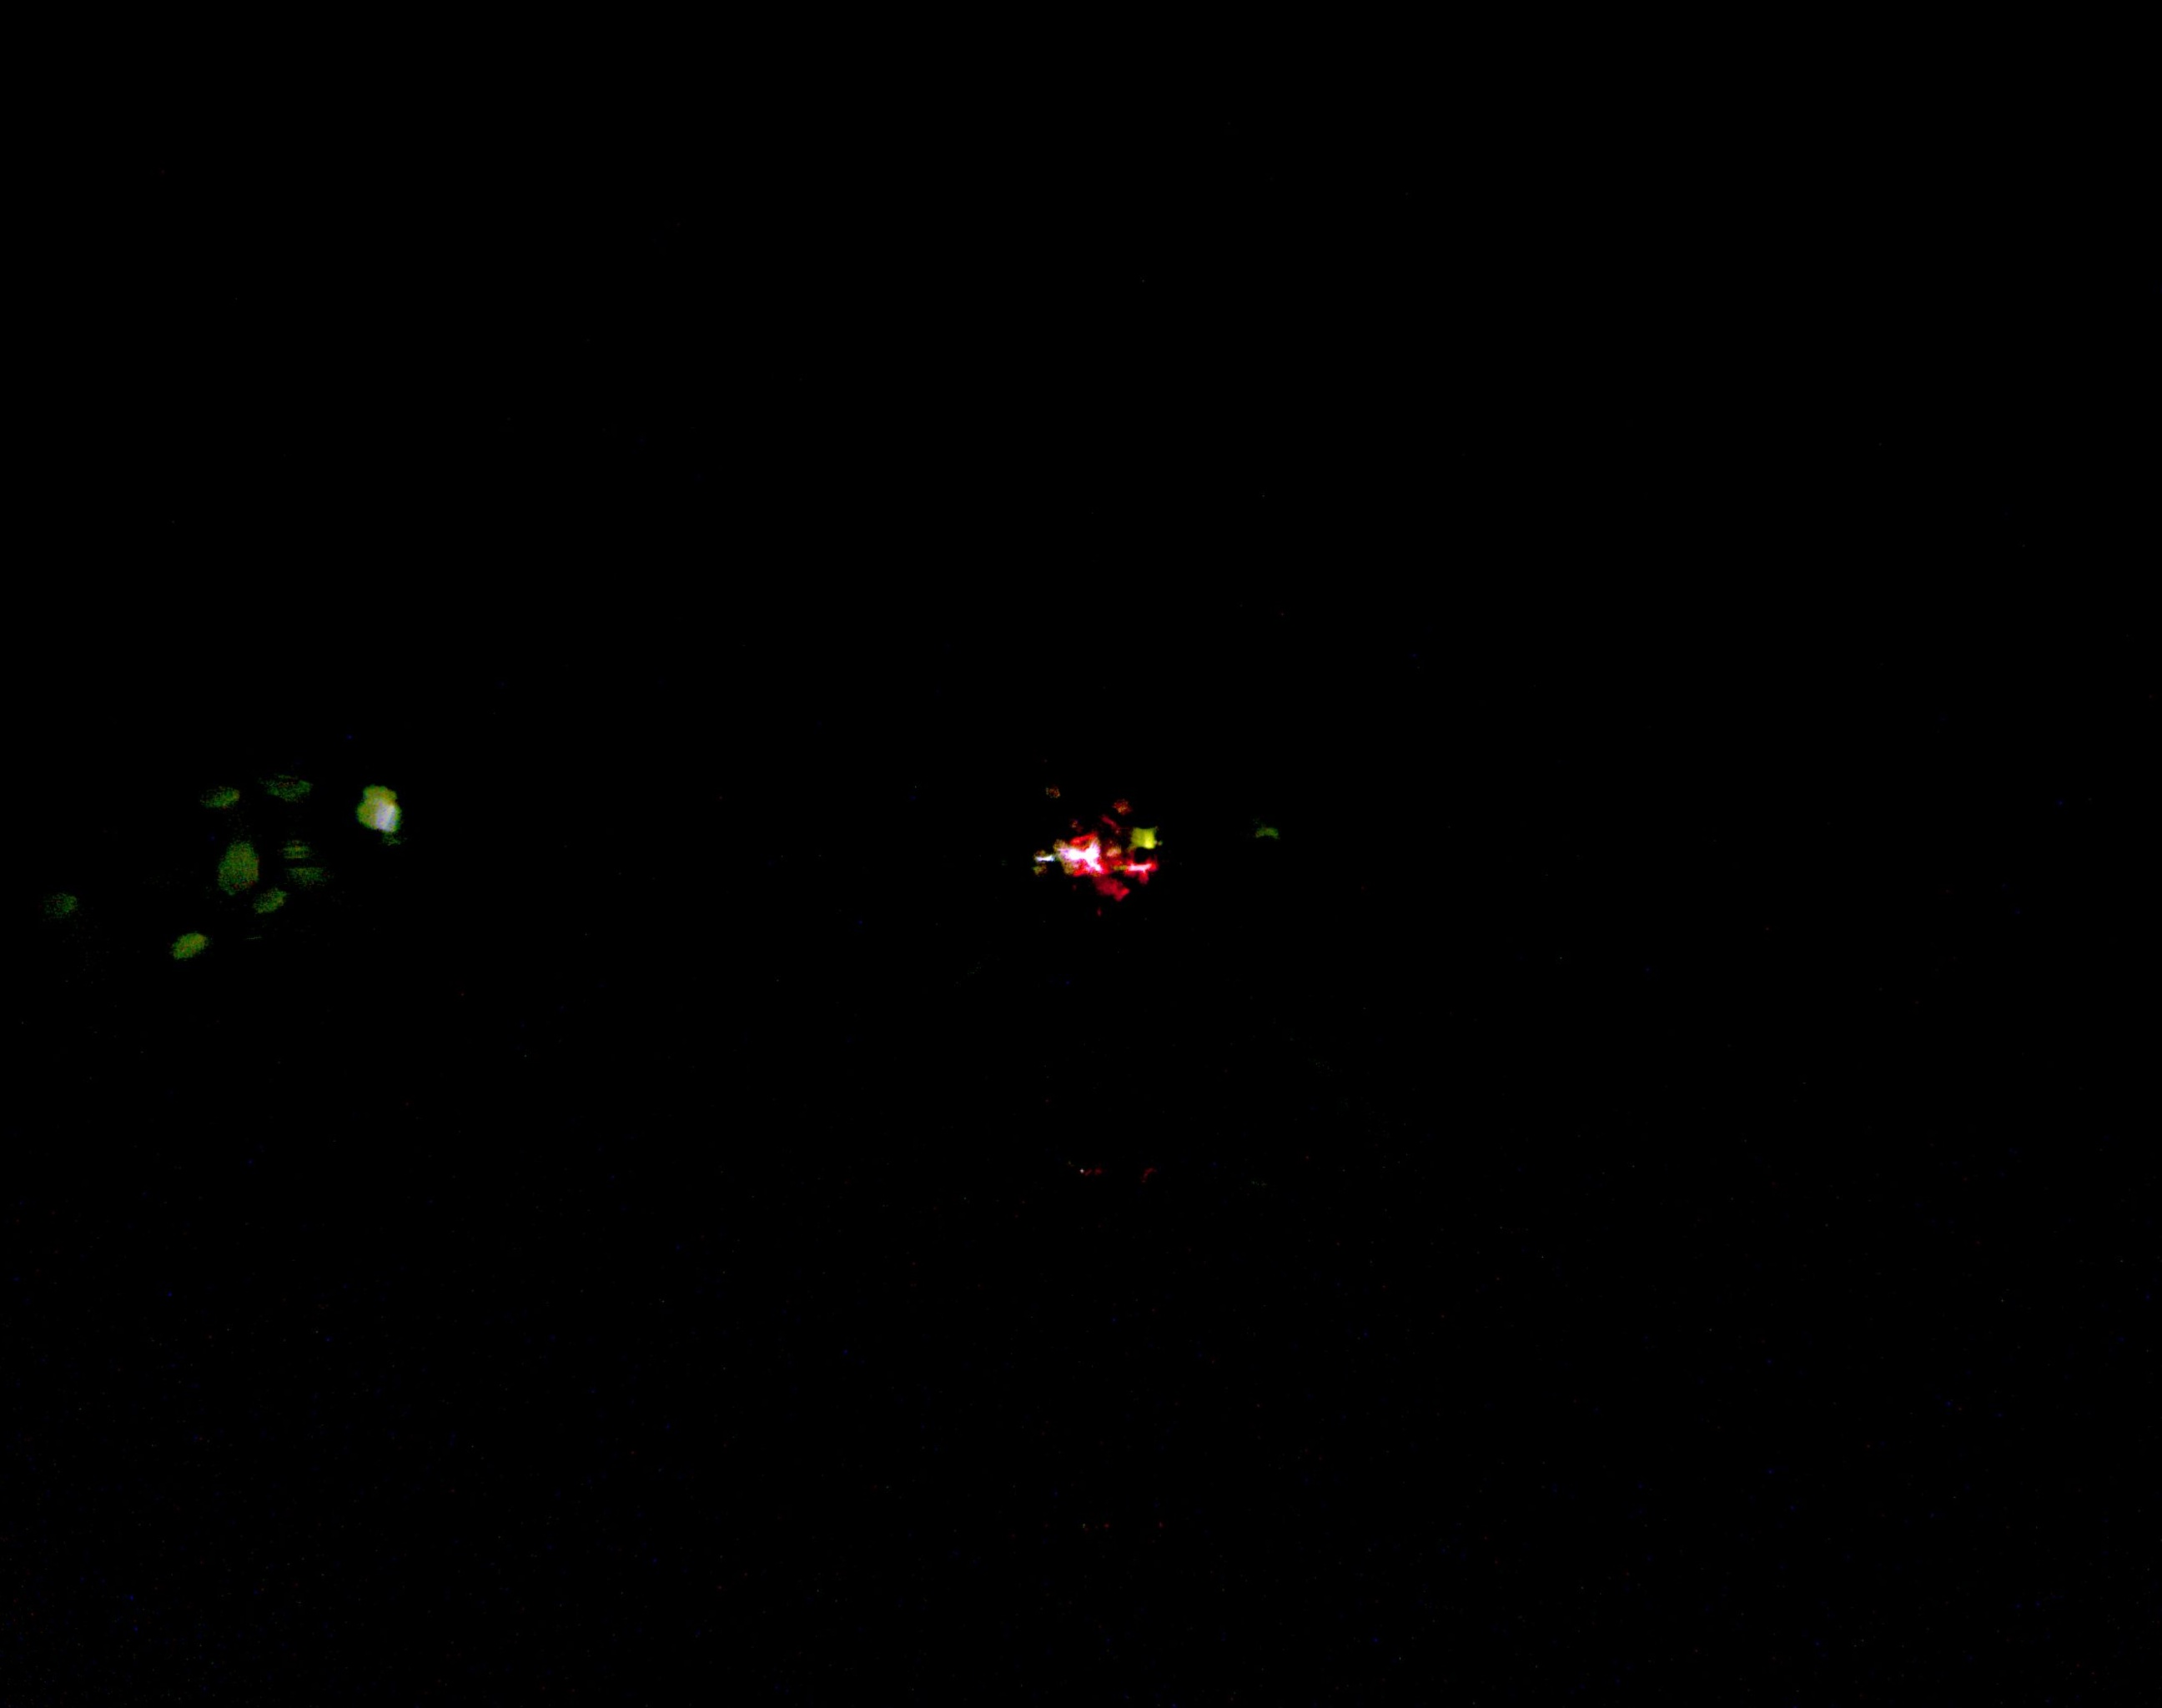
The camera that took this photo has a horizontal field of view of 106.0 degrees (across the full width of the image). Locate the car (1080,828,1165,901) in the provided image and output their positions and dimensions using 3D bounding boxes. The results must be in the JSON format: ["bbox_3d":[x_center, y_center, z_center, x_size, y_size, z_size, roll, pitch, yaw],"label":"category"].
[{"bbox_3d":[1.476,0.328,29.782,2.705,2.307,6.104,-2,0,2],"label":"car"}]
